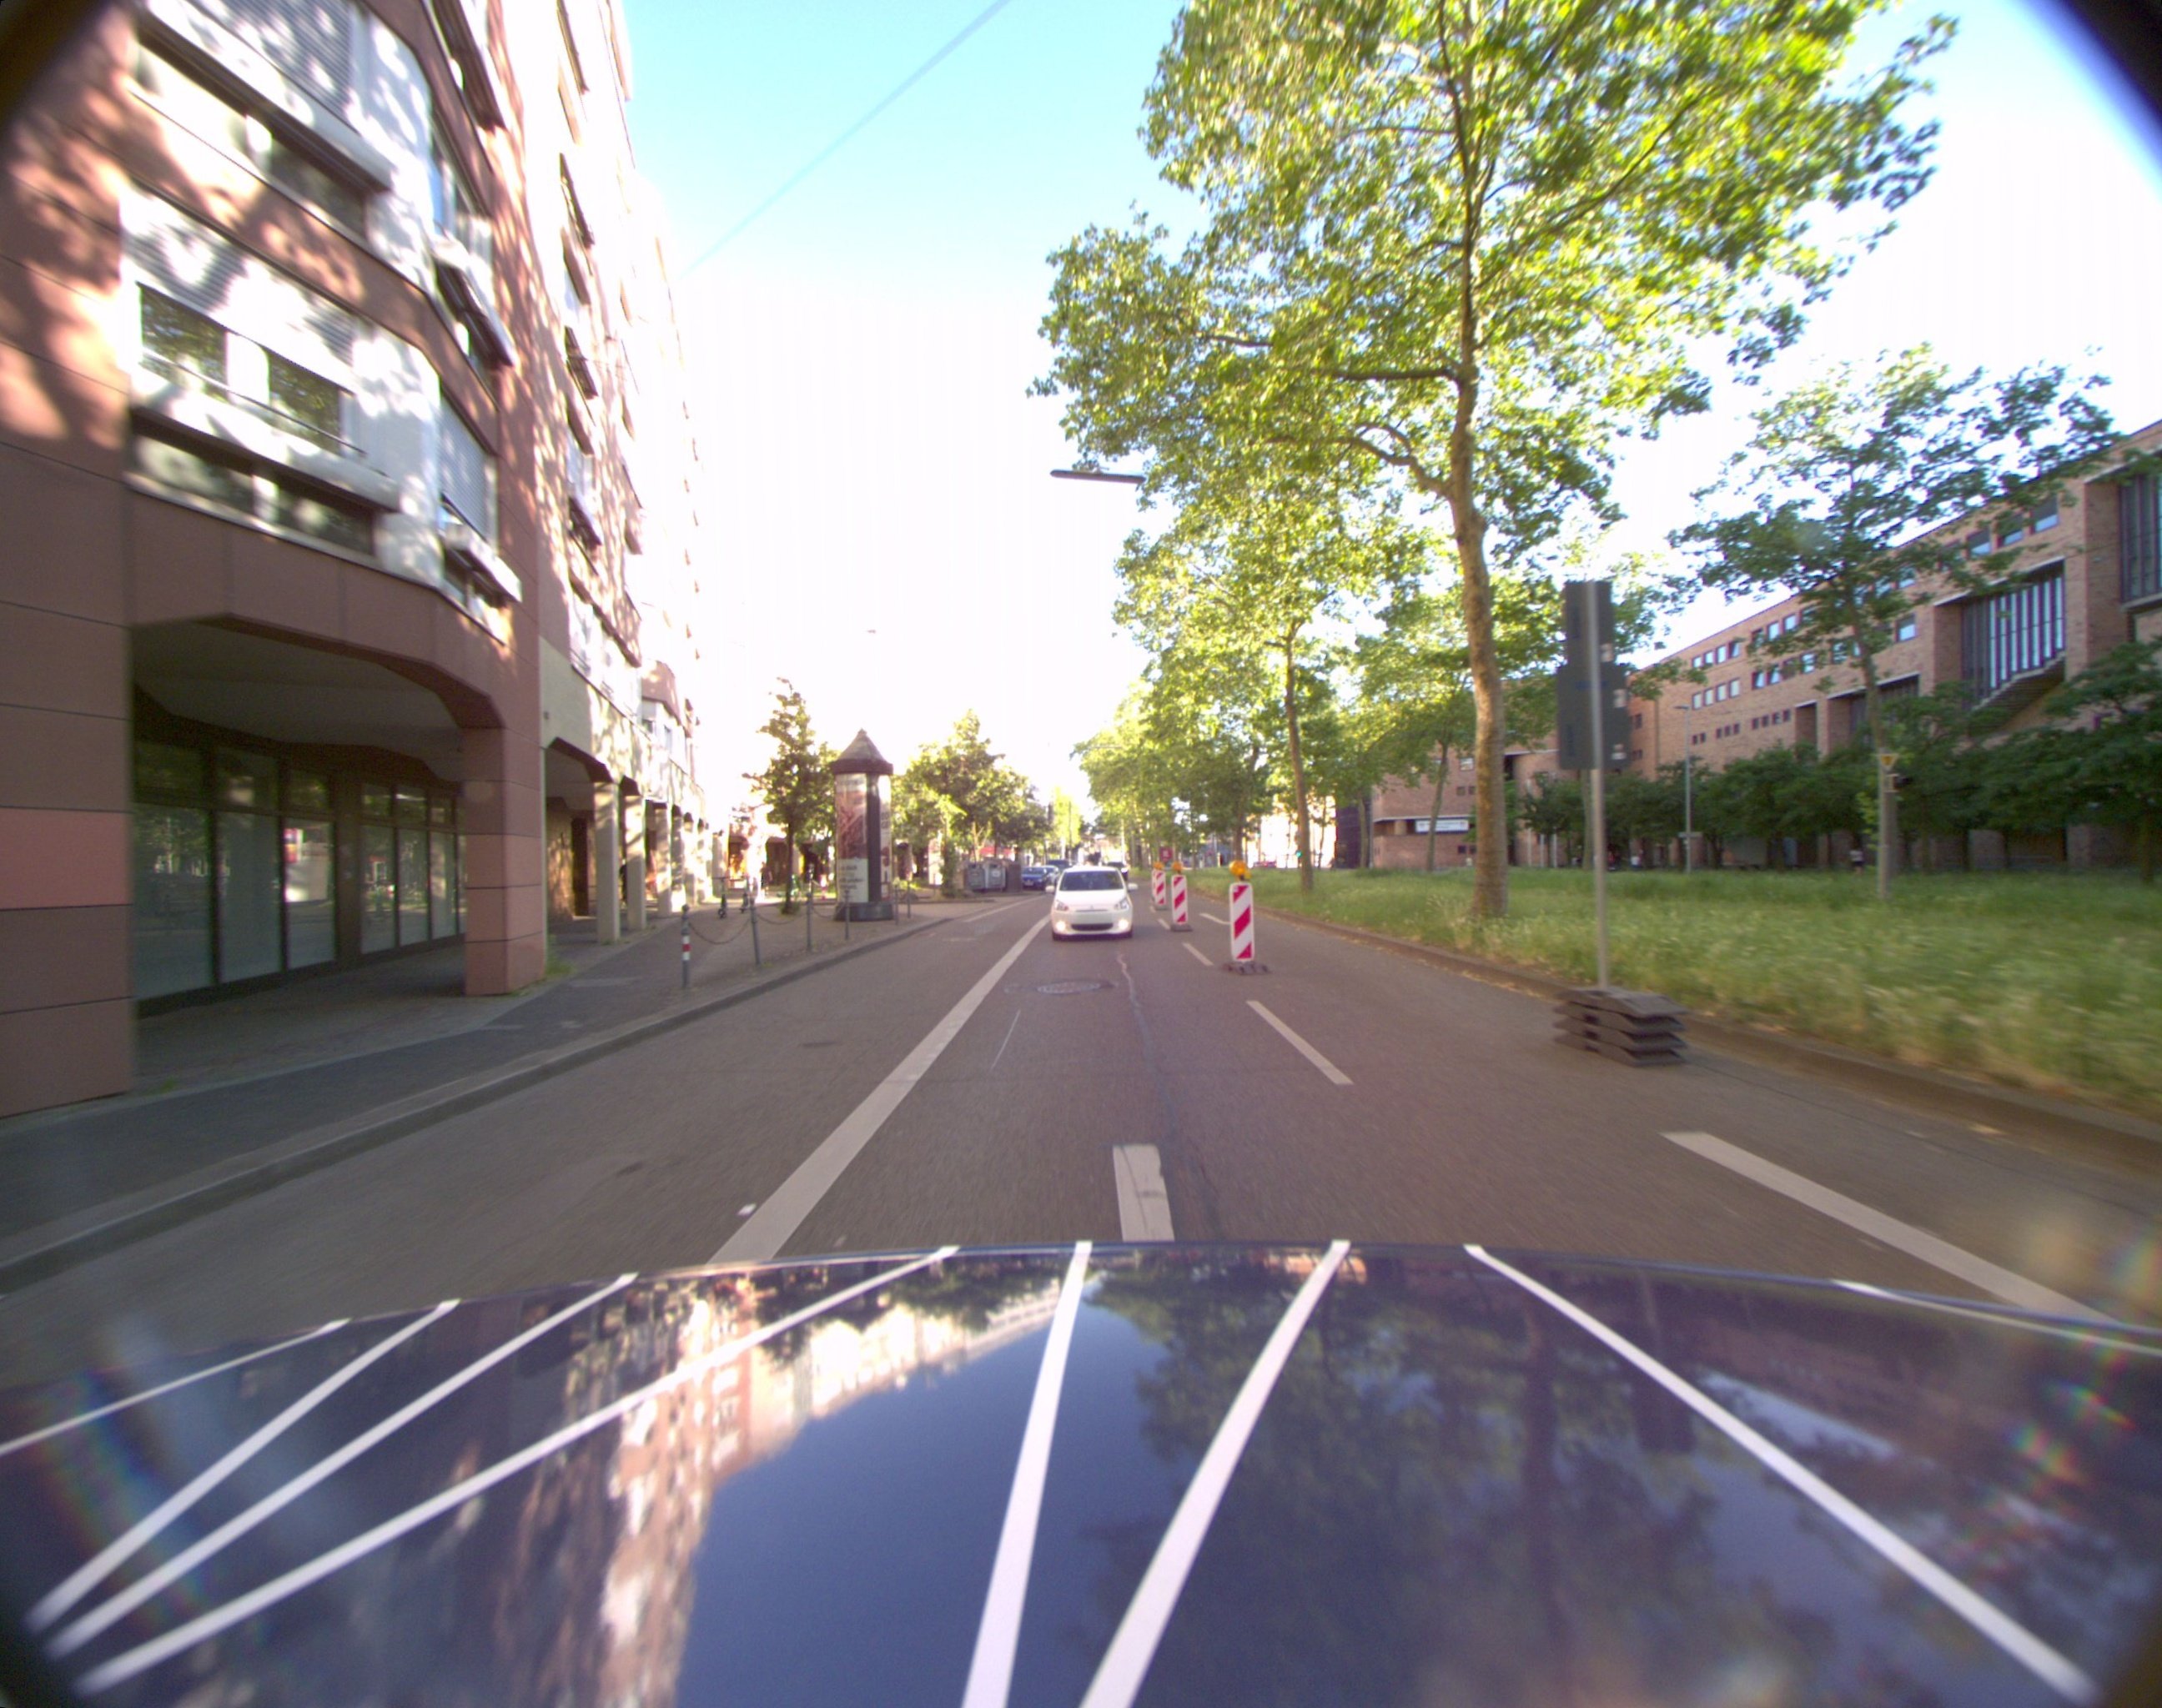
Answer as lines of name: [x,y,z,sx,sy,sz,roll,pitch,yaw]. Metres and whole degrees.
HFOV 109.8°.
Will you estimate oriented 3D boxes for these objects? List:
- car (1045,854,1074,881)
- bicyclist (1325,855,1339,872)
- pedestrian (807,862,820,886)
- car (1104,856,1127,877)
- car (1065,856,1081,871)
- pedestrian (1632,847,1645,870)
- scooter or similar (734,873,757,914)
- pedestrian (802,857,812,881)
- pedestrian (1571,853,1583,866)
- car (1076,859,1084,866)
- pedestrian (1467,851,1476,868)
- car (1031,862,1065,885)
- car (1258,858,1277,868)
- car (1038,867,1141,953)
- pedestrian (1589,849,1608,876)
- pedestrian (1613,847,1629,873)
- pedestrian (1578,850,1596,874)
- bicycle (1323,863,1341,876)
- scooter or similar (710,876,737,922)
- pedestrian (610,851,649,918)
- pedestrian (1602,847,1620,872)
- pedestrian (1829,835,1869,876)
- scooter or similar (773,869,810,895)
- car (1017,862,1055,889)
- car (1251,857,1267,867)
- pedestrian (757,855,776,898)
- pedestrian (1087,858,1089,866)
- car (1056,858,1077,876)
car: [-1.591,1.007,58.024,2.043,1.932,5.198,1,0,0]
bicyclist: [23.245,0.912,70.409,0.943,1.561,1.209,-1,0,2]
pedestrian: [-20.730,1.547,58.824,0.779,1.795,0.724,-1,0,-32]
car: [2.911,1.037,63.970,1.824,1.630,4.000,-1,0,2]
car: [-1.023,1.249,99.570,1.922,1.893,4.862,1,0,2]
pedestrian: [36.284,0.293,49.439,0.484,1.496,0.463,-1,0,6]
scooter or similar: [-10.714,1.243,24.307,0.486,1.266,1.448,-1,0,-18]
pedestrian: [-21.536,1.170,59.727,0.623,1.859,0.707,-2,1,-23]
pedestrian: [46.600,0.510,71.359,0.666,1.191,0.630,-1,0,-8]
car: [-0.273,2.101,183.882,1.865,1.724,4.019,-1,0,0]
pedestrian: [35.219,0.509,68.573,0.418,1.534,0.652,-1,0,-8]
car: [-2.177,1.293,51.209,1.705,1.456,4.177,0,0,5]
car: [26.008,1.251,105.988,1.675,1.420,4.150,-1,0,0]
car: [0.327,1.066,16.121,1.720,1.442,4.427,-4,-1,6]
pedestrian: [34.169,0.553,50.156,0.665,1.712,0.797,-1,0,1]
pedestrian: [35.548,0.413,49.978,0.612,1.669,0.596,-1,0,1]
pedestrian: [34.423,0.542,51.689,0.665,1.607,0.756,-1,0,1]
bicycle: [23.264,1.395,70.381,0.958,1.119,2.436,-1,0,2]
scooter or similar: [-10.260,1.270,21.815,0.486,1.209,1.448,-1,0,-18]
pedestrian: [-13.789,0.917,23.228,0.819,1.970,0.847,-1,0,-18]
pedestrian: [34.956,0.372,50.141,0.665,1.607,0.756,-1,0,1]
pedestrian: [34.433,0.077,34.079,0.826,1.820,0.901,-1,0,-5]
scooter or similar: [-13.440,1.289,35.300,1.457,1.139,0.559,-1,0,7]
car: [-2.625,1.252,45.250,1.705,1.475,4.250,0,0,4]
car: [26.230,1.125,112.144,1.617,1.420,3.222,-1,0,0]
pedestrian: [-14.668,1.057,35.466,0.641,1.970,0.775,-1,0,-14]
pedestrian: [1.675,1.955,181.900,0.614,2.002,0.530,-1,0,0]
car: [-1.397,1.228,75.632,1.802,1.714,4.461,1,0,3]
